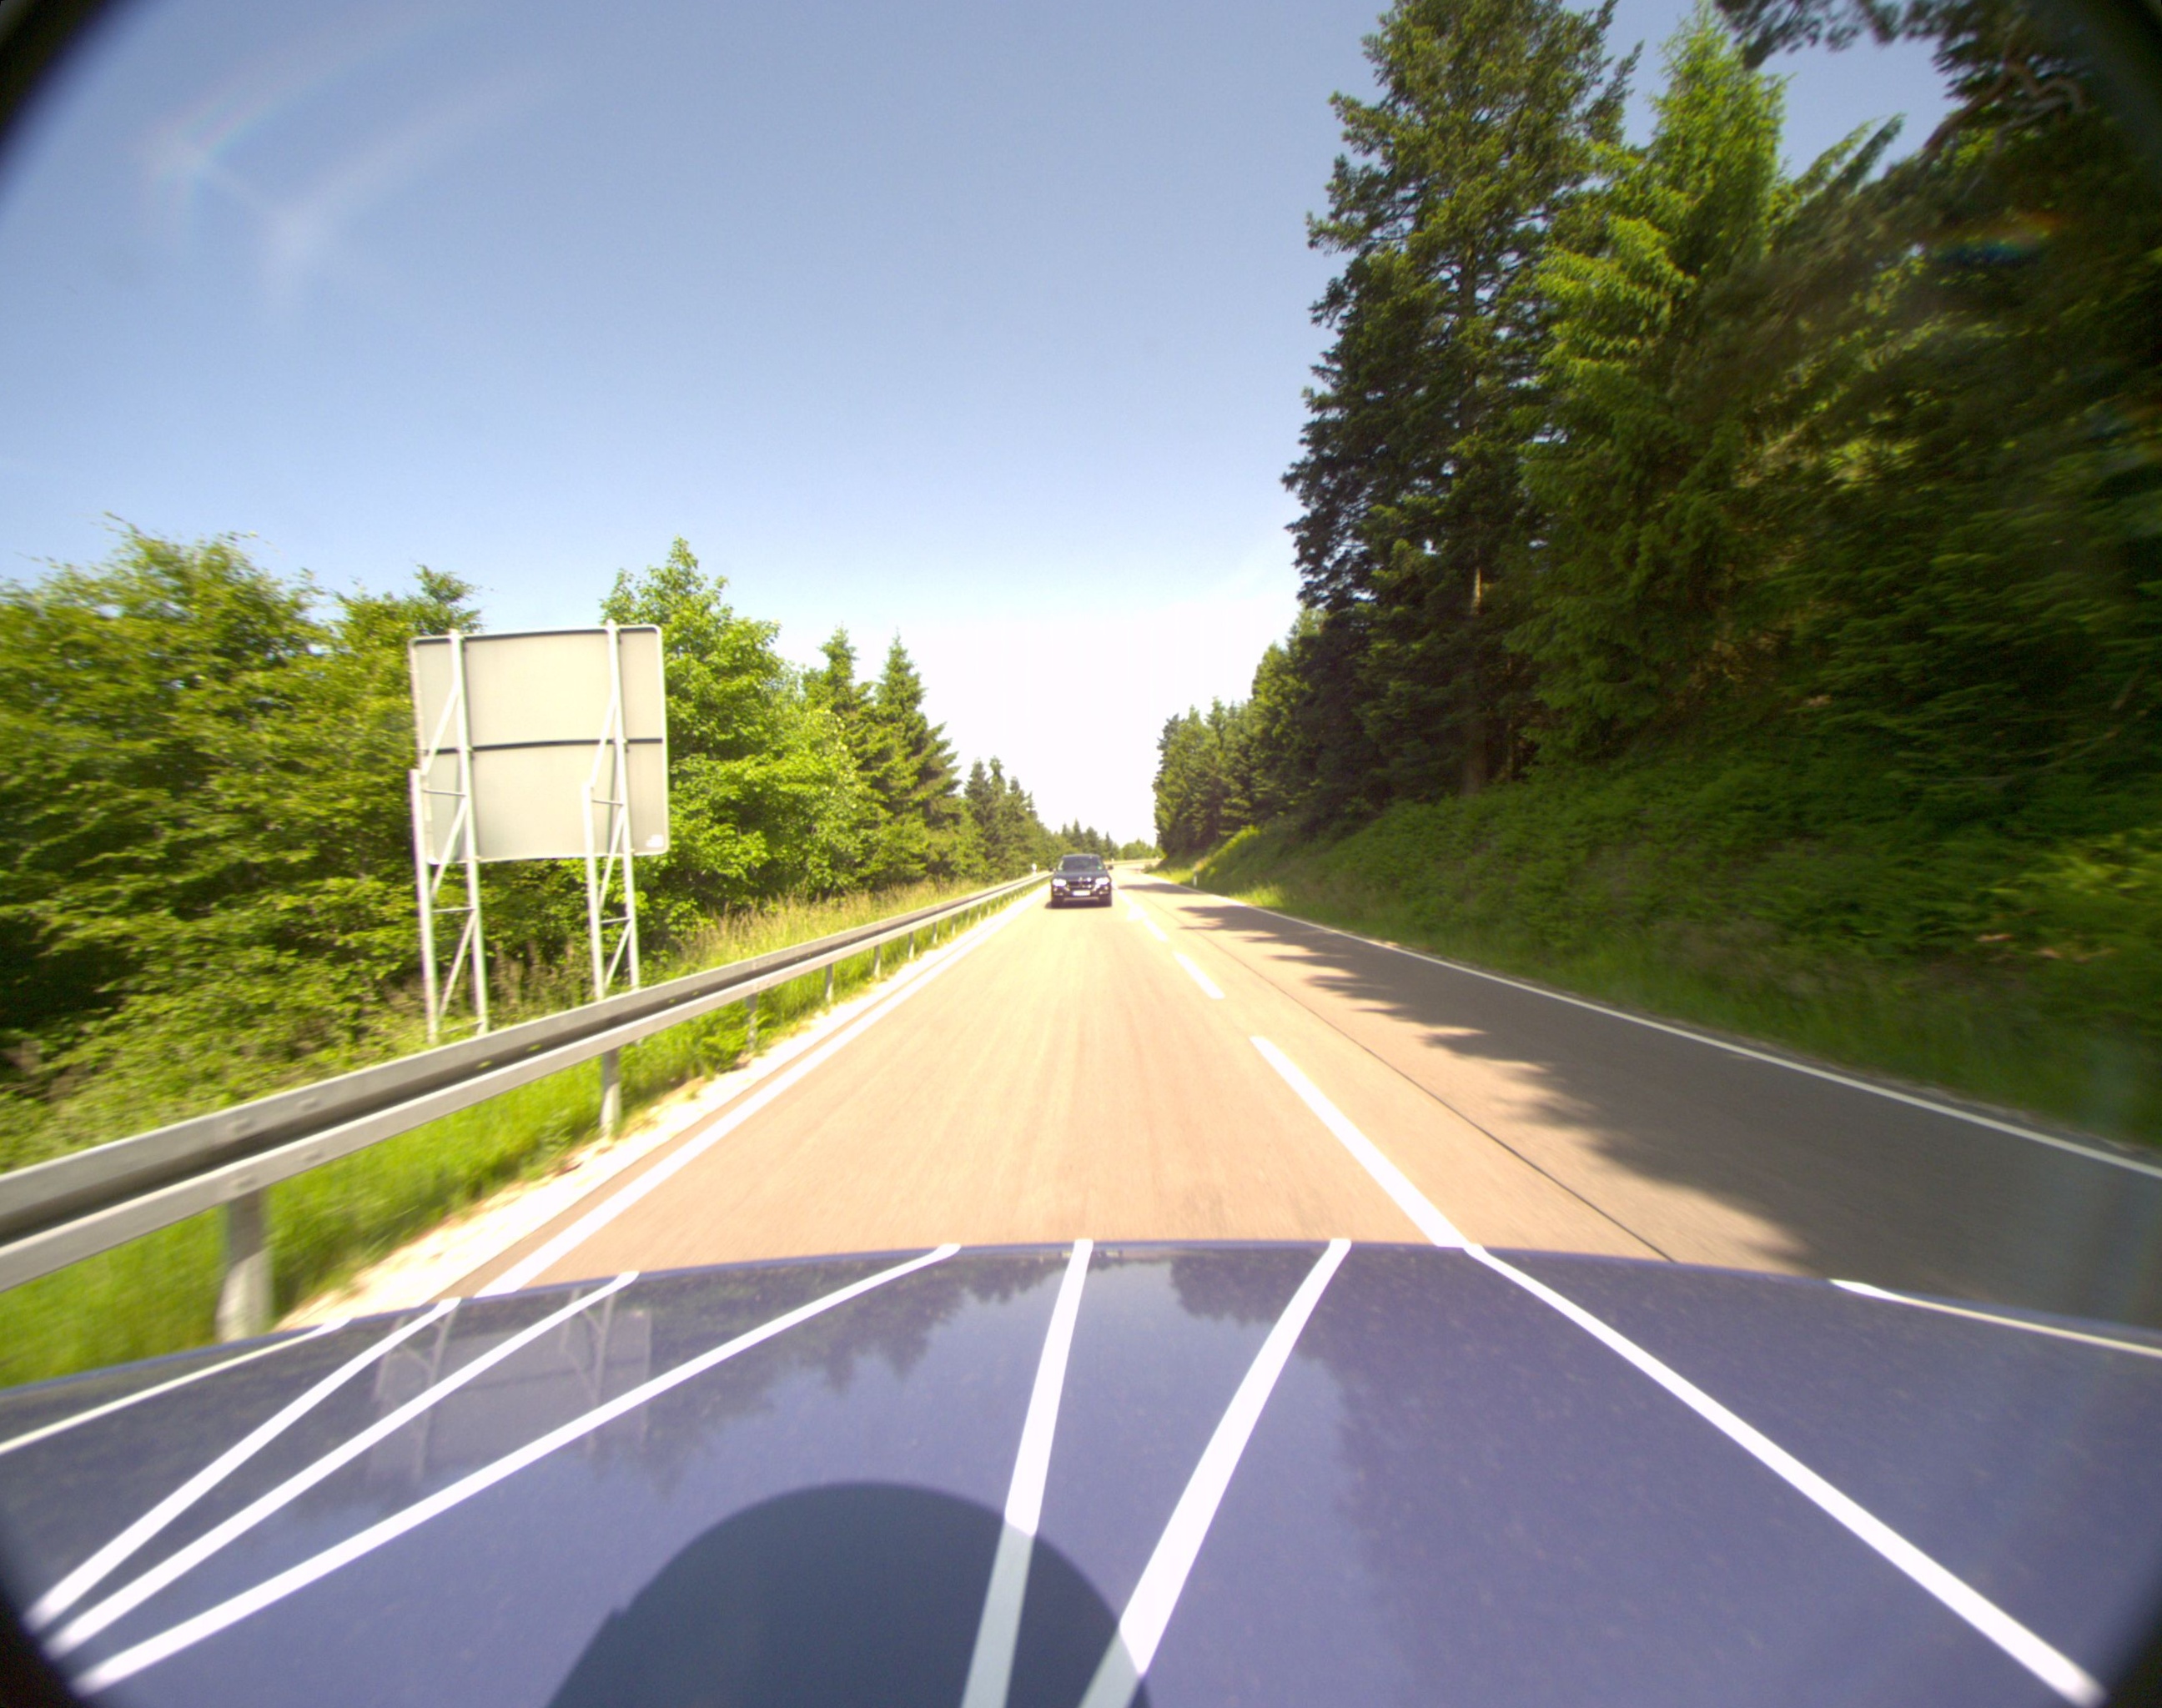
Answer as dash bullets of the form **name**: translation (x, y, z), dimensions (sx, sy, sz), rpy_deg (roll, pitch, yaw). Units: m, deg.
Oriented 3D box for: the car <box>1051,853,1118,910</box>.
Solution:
- **car**: translation (0.109, 0.852, 26.292), dimensions (1.998, 1.676, 5.936), rpy_deg (-2, 0, 0)
